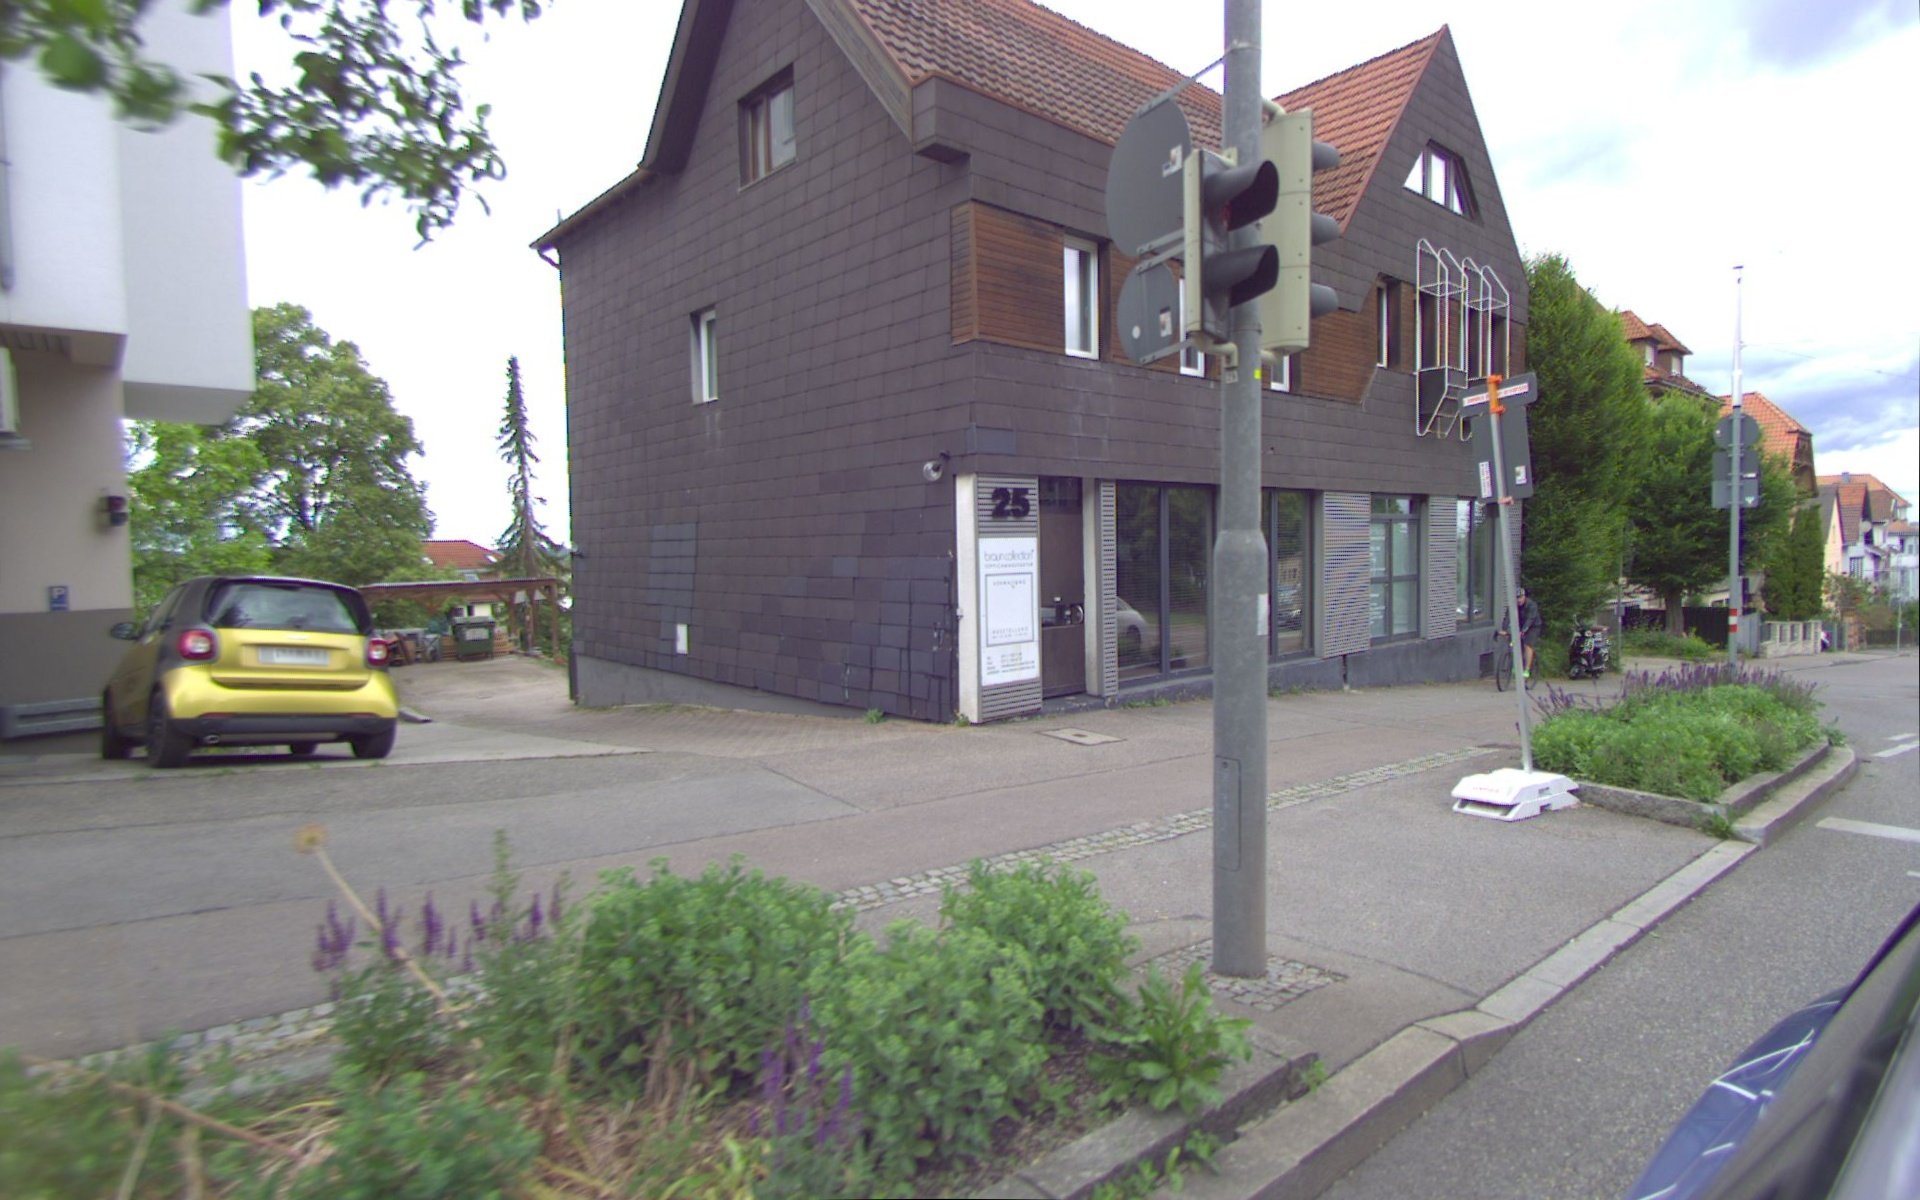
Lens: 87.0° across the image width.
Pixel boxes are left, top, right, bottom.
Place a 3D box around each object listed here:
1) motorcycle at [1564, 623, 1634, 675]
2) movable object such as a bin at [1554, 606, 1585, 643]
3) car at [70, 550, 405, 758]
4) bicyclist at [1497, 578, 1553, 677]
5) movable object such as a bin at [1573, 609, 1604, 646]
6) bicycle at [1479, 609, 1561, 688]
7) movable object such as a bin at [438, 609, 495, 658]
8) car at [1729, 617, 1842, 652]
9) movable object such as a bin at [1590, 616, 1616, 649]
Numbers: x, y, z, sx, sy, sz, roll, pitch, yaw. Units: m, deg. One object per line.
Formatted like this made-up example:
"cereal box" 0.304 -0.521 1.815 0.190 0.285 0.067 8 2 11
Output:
"motorcycle" 14.139 1.065 22.370 1.931 1.064 0.697 1 1 -39
"movable object such as a bin" 19.369 0.786 32.176 0.644 1.092 0.544 1 6 -40
"car" -6.324 0.516 8.799 2.984 1.484 1.642 -5 -6 40
"bicyclist" 9.761 0.461 17.484 0.930 1.654 0.539 1 -1 -41
"movable object such as a bin" 19.728 0.866 31.768 0.551 1.067 0.544 1 6 -40
"bicycle" 9.727 0.821 17.540 2.003 1.278 0.572 2 0 -42
"movable object such as a bin" -16.567 1.101 33.958 1.307 1.480 2.567 -3 2 -35
"car" 38.185 1.601 46.907 3.767 1.423 1.529 -4 -4 32
"movable object such as a bin" 19.992 1.007 31.474 0.551 0.951 0.453 1 4 -41
